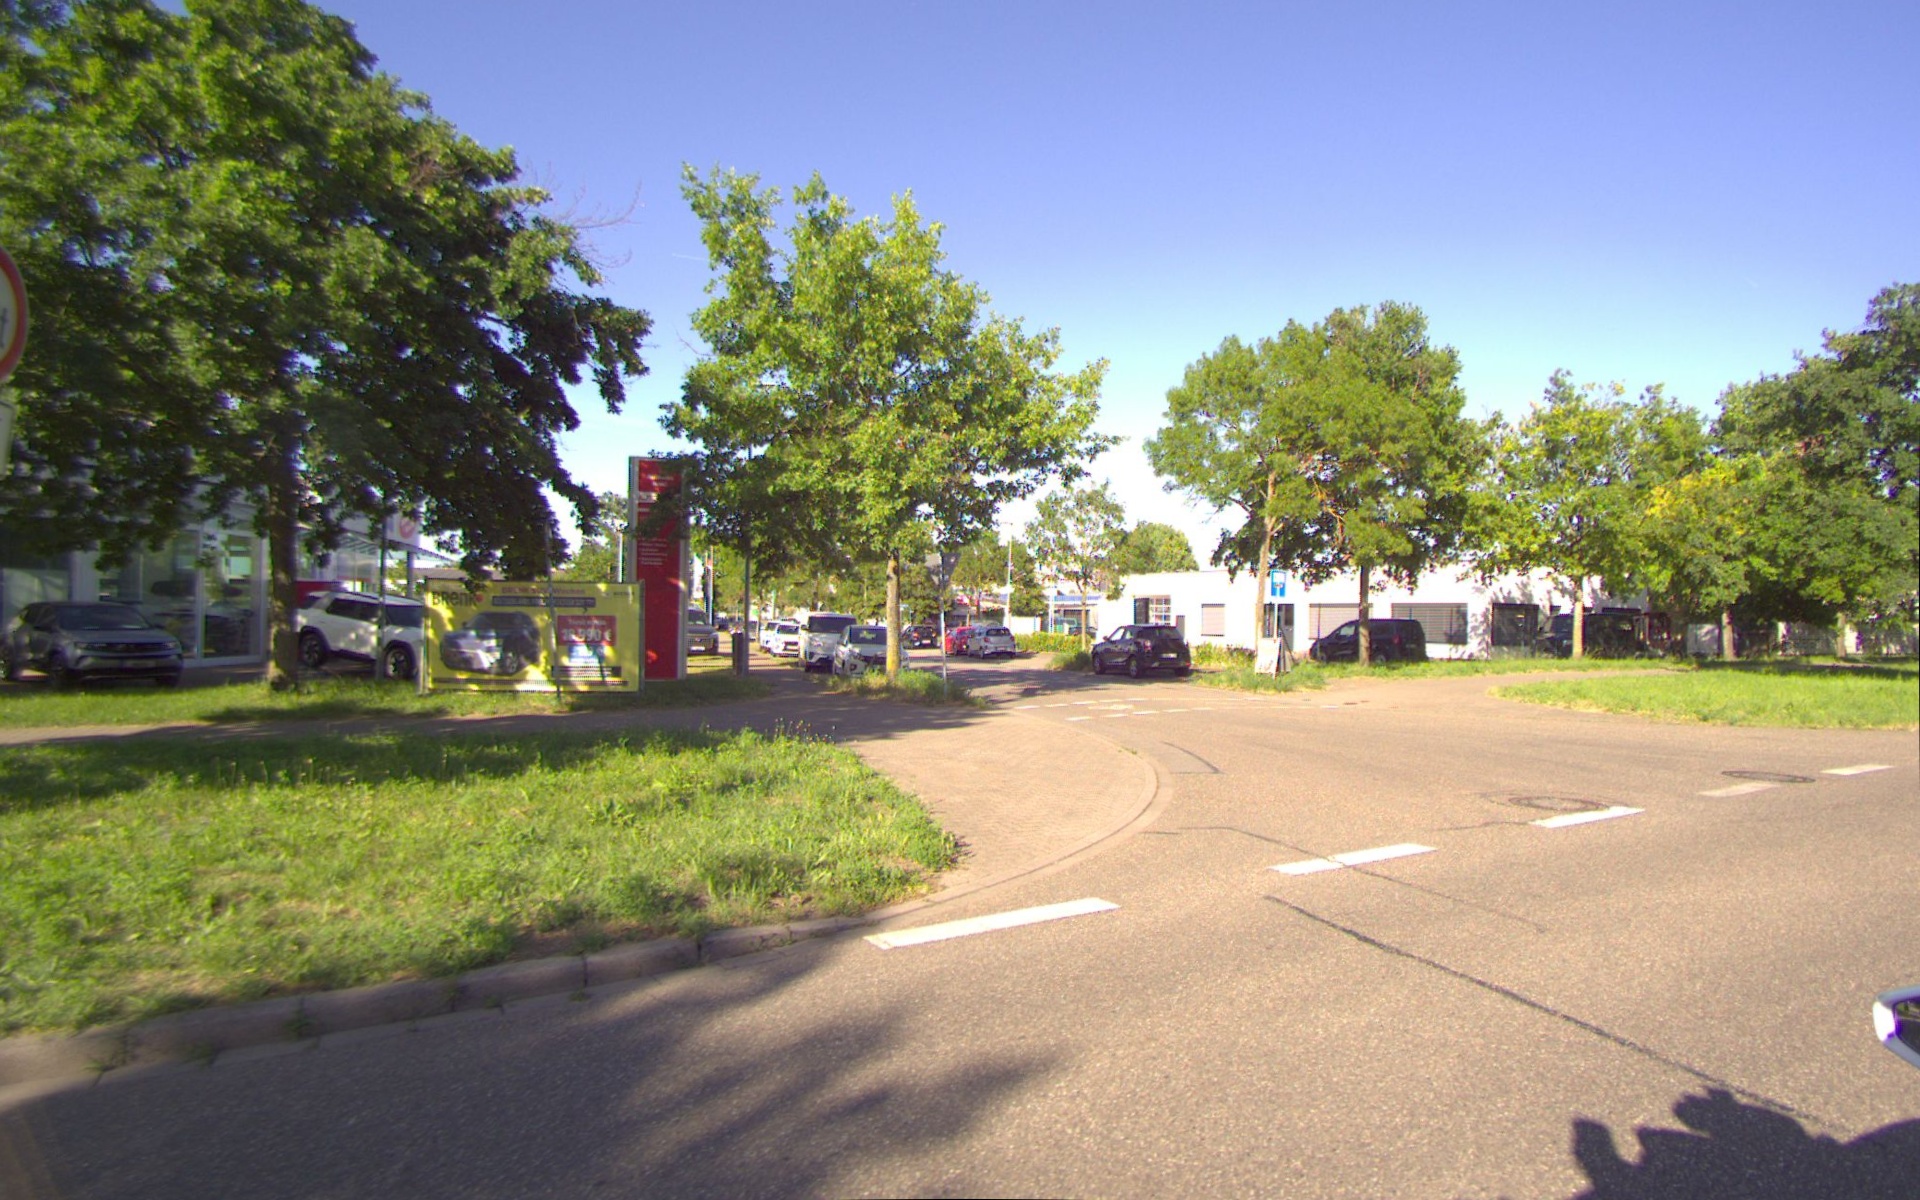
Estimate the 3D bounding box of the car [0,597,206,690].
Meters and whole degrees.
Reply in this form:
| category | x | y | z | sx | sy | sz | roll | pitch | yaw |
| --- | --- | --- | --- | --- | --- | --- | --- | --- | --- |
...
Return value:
| category | x | y | z | sx | sy | sz | roll | pitch | yaw |
| --- | --- | --- | --- | --- | --- | --- | --- | --- | --- |
| car | -16.405 | 0.759 | 18.983 | 4.095 | 1.583 | 1.996 | 0 | -1 | 30 |

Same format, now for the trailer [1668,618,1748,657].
| category | x | y | z | sx | sy | sz | roll | pitch | yaw |
| --- | --- | --- | --- | --- | --- | --- | --- | --- | --- |
| trailer | 38.861 | 1.952 | 52.169 | 3.698 | 1.940 | 2.092 | 1 | -1 | -31 |

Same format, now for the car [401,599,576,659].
| category | x | y | z | sx | sy | sz | roll | pitch | yaw |
| --- | --- | --- | --- | --- | --- | --- | --- | --- | --- |
| car | -14.887 | 0.935 | 32.031 | 4.794 | 1.837 | 1.992 | 1 | -1 | -18 |

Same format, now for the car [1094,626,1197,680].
| category | x | y | z | sx | sy | sz | roll | pitch | yaw |
| --- | --- | --- | --- | --- | --- | --- | --- | --- | --- |
| car | 5.779 | 1.633 | 31.682 | 1.792 | 1.553 | 3.670 | 1 | -1 | -15 |

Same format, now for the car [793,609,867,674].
| category | x | y | z | sx | sy | sz | roll | pitch | yaw |
| --- | --- | --- | --- | --- | --- | --- | --- | --- | --- |
| car | -4.314 | 1.300 | 32.693 | 1.908 | 1.931 | 5.014 | 1 | -1 | -13 |

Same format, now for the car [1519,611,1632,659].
| category | x | y | z | sx | sy | sz | roll | pitch | yaw |
| --- | --- | --- | --- | --- | --- | --- | --- | --- | --- |
| car | 27.601 | 1.561 | 44.976 | 5.743 | 2.015 | 2.024 | 2 | -1 | -33 |

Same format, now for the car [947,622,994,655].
| category | x | y | z | sx | sy | sz | roll | pitch | yaw |
| --- | --- | --- | --- | --- | --- | --- | --- | --- | --- |
| car | 0.483 | 1.940 | 51.636 | 1.769 | 1.531 | 3.993 | 0 | 0 | -9 |

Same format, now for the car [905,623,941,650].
| category | x | y | z | sx | sy | sz | roll | pitch | yaw |
| --- | --- | --- | --- | --- | --- | --- | --- | --- | --- |
| car | -2.342 | 2.236 | 62.560 | 1.769 | 1.531 | 3.993 | 0 | 0 | -9 |

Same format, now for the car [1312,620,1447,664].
| category | x | y | z | sx | sy | sz | roll | pitch | yaw |
| --- | --- | --- | --- | --- | --- | --- | --- | --- | --- |
| car | 15.286 | 1.492 | 36.883 | 1.914 | 1.499 | 4.489 | 1 | -1 | -24 |

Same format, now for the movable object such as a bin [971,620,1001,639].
| category | x | y | z | sx | sy | sz | roll | pitch | yaw |
| --- | --- | --- | --- | --- | --- | --- | --- | --- | --- |
| movable object such as a bin | 1.661 | 1.904 | 64.386 | 1.618 | 1.159 | 1.489 | 1 | -1 | -13 |

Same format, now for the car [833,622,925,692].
| category | x | y | z | sx | sy | sz | roll | pitch | yaw |
| --- | --- | --- | --- | --- | --- | --- | --- | --- | --- |
| car | -2.181 | 1.426 | 26.188 | 1.929 | 1.639 | 3.746 | 1 | -1 | -12 |

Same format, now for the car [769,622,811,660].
| category | x | y | z | sx | sy | sz | roll | pitch | yaw |
| --- | --- | --- | --- | --- | --- | --- | --- | --- | --- |
| car | -7.666 | 1.810 | 45.409 | 1.769 | 1.531 | 3.993 | 0 | 0 | -9 |

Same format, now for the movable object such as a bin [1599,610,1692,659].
| category | x | y | z | sx | sy | sz | roll | pitch | yaw |
| --- | --- | --- | --- | --- | --- | --- | --- | --- | --- |
| movable object such as a bin | 32.966 | 1.655 | 48.285 | 4.409 | 2.246 | 2.092 | 1 | -1 | -31 |

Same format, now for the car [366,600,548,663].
| category | x | y | z | sx | sy | sz | roll | pitch | yaw |
| --- | --- | --- | --- | --- | --- | --- | --- | --- | --- |
| car | -13.377 | 0.850 | 27.019 | 4.105 | 1.591 | 1.992 | 1 | -1 | -19 |

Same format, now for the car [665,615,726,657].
| category | x | y | z | sx | sy | sz | roll | pitch | yaw |
| --- | --- | --- | --- | --- | --- | --- | --- | --- | --- |
| car | -10.788 | 1.409 | 40.760 | 1.970 | 1.583 | 4.850 | 1 | -1 | -20 |

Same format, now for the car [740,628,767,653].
| category | x | y | z | sx | sy | sz | roll | pitch | yaw |
| --- | --- | --- | --- | --- | --- | --- | --- | --- | --- |
| car | -14.240 | 2.761 | 69.243 | 1.769 | 1.531 | 3.991 | 0 | 0 | -12 |

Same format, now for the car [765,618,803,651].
| category | x | y | z | sx | sy | sz | roll | pitch | yaw |
| --- | --- | --- | --- | --- | --- | --- | --- | --- | --- |
| car | -8.863 | 1.712 | 50.385 | 1.769 | 1.531 | 3.991 | 0 | 0 | -12 |

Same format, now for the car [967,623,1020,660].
| category | x | y | z | sx | sy | sz | roll | pitch | yaw |
| --- | --- | --- | --- | --- | --- | --- | --- | --- | --- |
| car | 1.538 | 1.916 | 47.392 | 1.769 | 1.597 | 3.993 | 0 | 0 | -9 |

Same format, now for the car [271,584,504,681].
| category | x | y | z | sx | sy | sz | roll | pitch | yaw |
| --- | --- | --- | --- | --- | --- | --- | --- | --- | --- |
| car | -13.051 | 0.701 | 22.930 | 4.763 | 2.040 | 2.000 | 0 | -1 | 20 |
